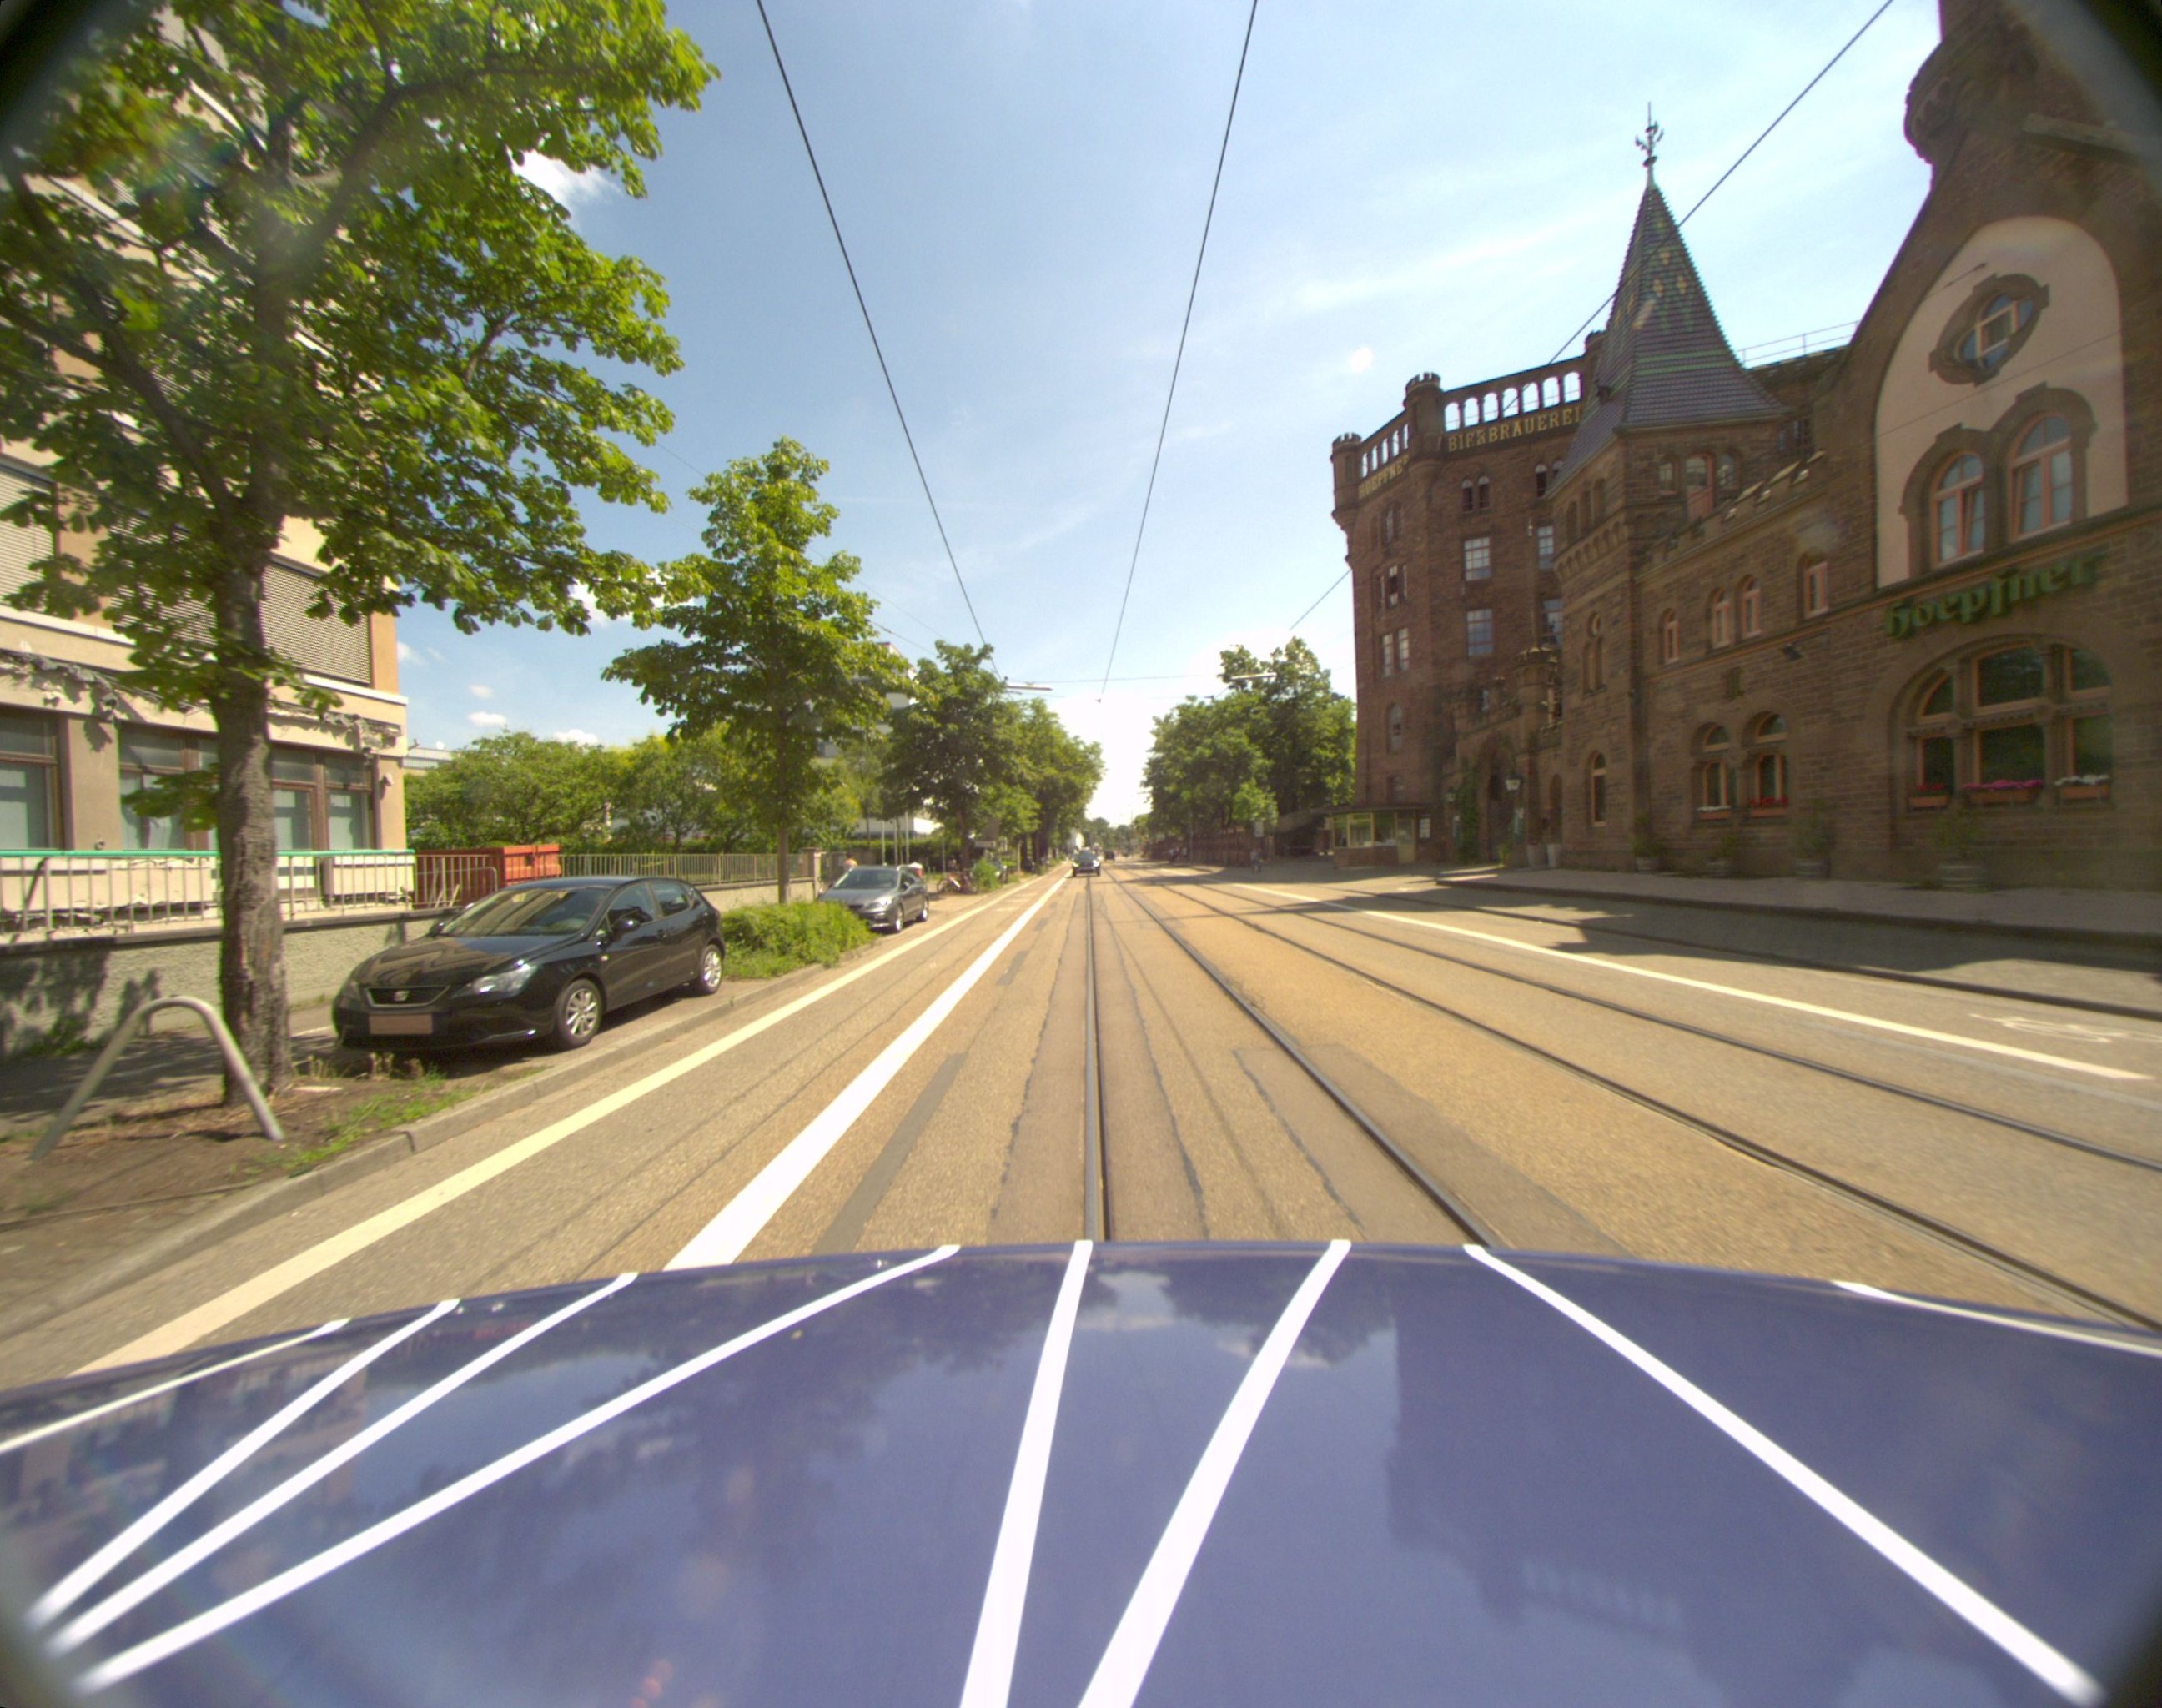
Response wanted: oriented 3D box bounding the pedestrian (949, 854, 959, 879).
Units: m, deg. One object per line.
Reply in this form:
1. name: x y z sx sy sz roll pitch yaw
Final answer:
1. pedestrian: -7.905 0.782 47.456 0.514 1.564 0.544 -1 1 1

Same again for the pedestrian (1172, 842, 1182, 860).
1. pedestrian: 9.571 -0.307 75.772 0.723 1.781 0.919 -5 1 0

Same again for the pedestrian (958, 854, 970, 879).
1. pedestrian: -7.286 0.771 47.477 0.620 1.564 0.610 -1 1 1

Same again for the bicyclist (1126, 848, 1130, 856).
1. bicyclist: 9.456 -0.428 152.002 0.665 1.616 0.919 0 1 0

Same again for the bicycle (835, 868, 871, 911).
1. bicycle: -7.093 1.083 23.723 0.556 1.258 1.774 0 1 1

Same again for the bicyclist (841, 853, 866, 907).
1. bicyclist: -7.098 0.805 23.703 0.582 1.638 0.599 0 1 0

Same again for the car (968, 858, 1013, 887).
1. car: -4.625 0.914 39.452 1.756 1.263 3.833 -3 0 1

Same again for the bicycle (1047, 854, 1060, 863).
1. bicycle: -3.862 0.601 106.175 1.813 1.105 0.569 -4 1 -3

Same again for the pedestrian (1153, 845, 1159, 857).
1. pedestrian: 11.782 -0.476 119.718 0.750 1.738 0.919 -4 1 0

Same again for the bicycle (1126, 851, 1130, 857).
1. bicycle: 9.461 0.058 151.894 0.661 1.156 1.895 0 0 1

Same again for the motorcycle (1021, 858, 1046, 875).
1. motorcycle: -3.680 0.960 58.690 2.056 1.206 0.614 -1 2 40

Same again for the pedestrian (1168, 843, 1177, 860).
1. pedestrian: 9.857 -0.297 81.728 0.679 1.780 0.919 -5 1 0

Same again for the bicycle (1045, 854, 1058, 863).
1. bicycle: -4.073 0.626 105.537 1.813 1.105 0.569 -4 1 -3

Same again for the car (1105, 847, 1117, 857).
1. car: 5.322 -0.358 133.623 1.909 1.778 4.255 -2 0 1

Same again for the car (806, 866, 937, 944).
1. car: -4.643 1.062 17.593 1.675 1.400 4.748 -2 0 0

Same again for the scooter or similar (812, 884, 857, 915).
1. scooter or similar: -7.140 1.308 22.076 0.763 0.802 1.555 0 0 1

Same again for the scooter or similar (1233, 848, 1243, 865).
1. scooter or similar: 11.170 0.154 54.021 0.328 1.120 1.225 -3 1 29

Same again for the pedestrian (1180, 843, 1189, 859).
1. pedestrian: 11.138 -0.324 81.884 0.679 1.766 0.919 -5 1 0

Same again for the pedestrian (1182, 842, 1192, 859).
1. pedestrian: 11.062 -0.346 79.566 0.754 1.766 0.919 -5 1 0

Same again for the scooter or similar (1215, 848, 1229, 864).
1. scooter or similar: 10.674 0.167 57.481 0.348 1.120 1.227 -3 2 44

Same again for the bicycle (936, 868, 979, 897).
1. bicycle: -4.951 1.143 30.571 1.589 1.054 0.562 -2 1 -1

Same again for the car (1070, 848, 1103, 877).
1. car: 0.378 0.509 50.049 1.998 1.732 4.226 -3 0 1

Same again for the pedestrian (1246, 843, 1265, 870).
1. pedestrian: 10.759 0.151 46.857 0.801 1.579 0.919 -5 1 0

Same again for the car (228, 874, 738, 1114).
1. car: -5.051 1.029 7.271 1.675 1.481 3.980 -2 0 0
